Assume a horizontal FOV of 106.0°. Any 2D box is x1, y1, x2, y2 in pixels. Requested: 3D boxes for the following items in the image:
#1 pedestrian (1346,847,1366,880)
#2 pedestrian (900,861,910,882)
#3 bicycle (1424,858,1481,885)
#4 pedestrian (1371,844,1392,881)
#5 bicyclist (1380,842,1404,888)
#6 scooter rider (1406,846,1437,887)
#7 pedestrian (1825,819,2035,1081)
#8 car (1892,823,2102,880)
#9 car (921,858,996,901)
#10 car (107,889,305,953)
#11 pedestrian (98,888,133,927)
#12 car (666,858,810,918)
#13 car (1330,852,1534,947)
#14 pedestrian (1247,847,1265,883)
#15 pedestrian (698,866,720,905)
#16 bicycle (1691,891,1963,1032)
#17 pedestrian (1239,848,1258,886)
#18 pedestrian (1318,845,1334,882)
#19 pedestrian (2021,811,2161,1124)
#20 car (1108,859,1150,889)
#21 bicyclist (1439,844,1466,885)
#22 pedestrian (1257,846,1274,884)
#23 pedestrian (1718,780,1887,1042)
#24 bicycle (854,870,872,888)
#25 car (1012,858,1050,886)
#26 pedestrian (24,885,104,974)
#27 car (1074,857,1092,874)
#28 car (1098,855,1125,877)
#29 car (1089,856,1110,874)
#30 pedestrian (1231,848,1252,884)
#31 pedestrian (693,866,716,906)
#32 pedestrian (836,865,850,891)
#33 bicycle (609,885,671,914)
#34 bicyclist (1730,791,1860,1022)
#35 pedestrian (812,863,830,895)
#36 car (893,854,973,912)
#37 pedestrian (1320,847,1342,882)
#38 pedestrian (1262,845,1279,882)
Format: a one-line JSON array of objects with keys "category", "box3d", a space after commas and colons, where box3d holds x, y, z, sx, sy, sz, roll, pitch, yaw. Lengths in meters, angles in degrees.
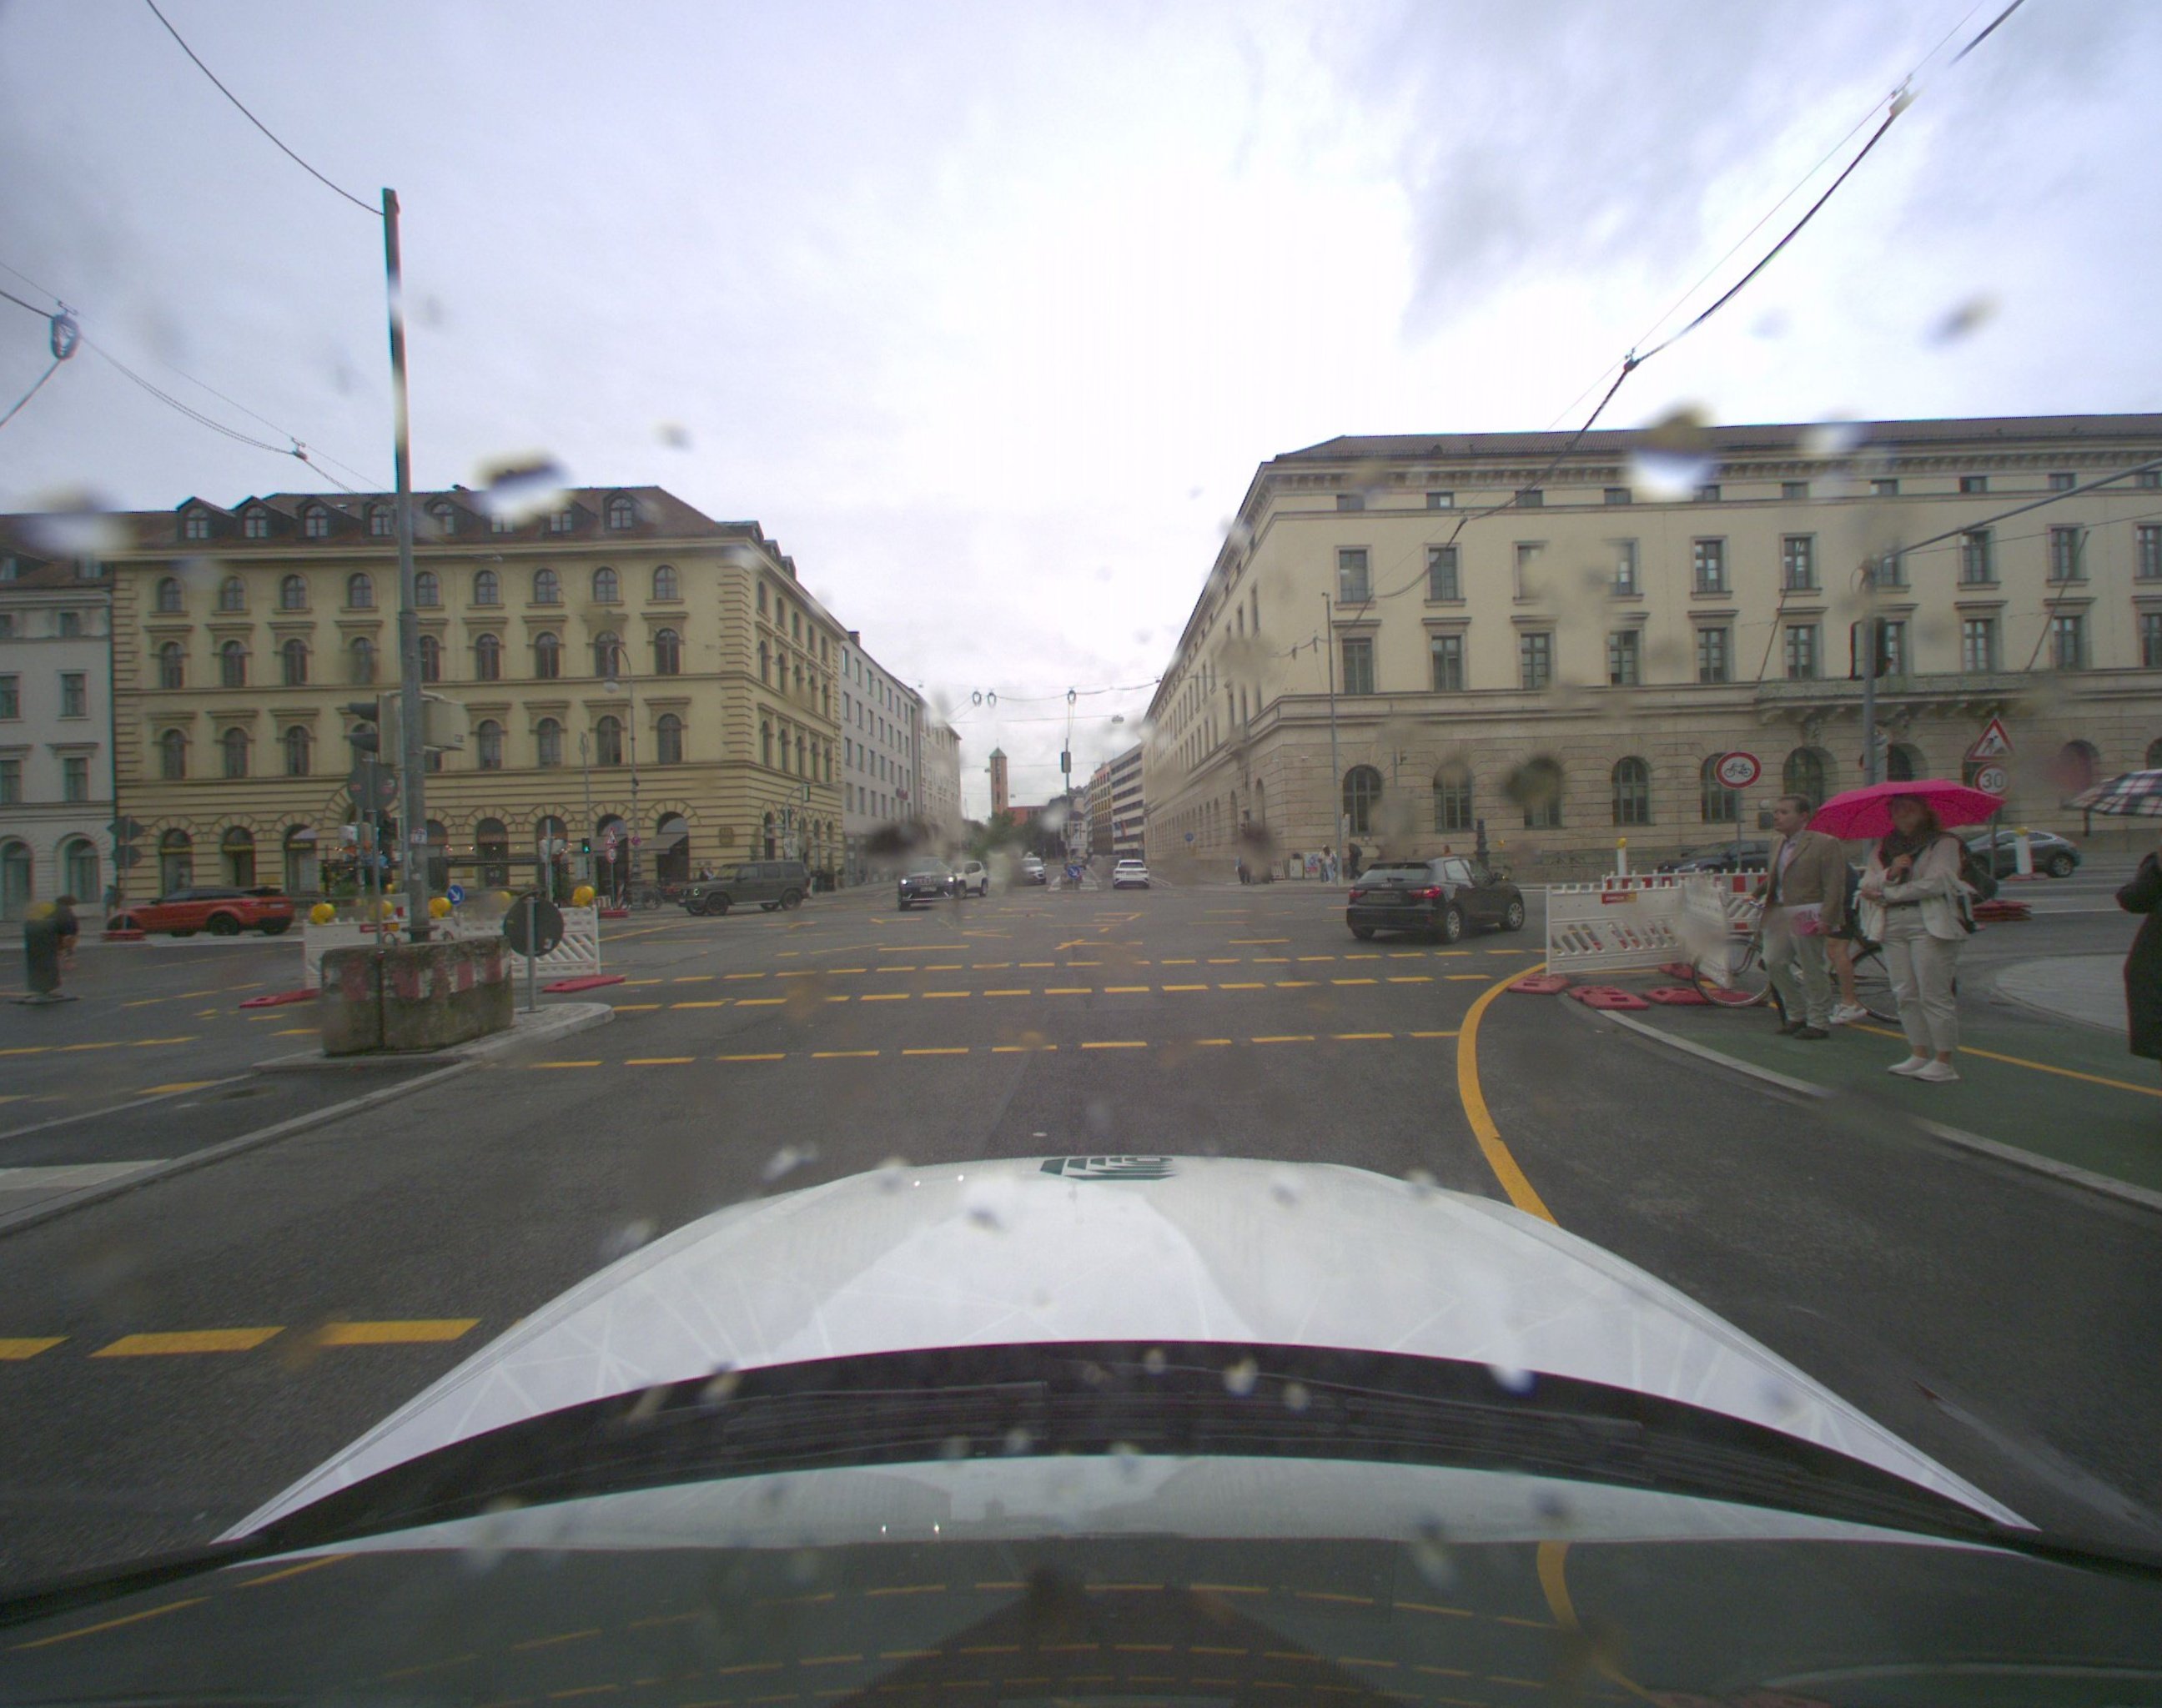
[{"category": "pedestrian", "box3d": [13.184, 0.449, 39.023, 0.662, 1.527, 0.820, -1, 0, 2]}, {"category": "pedestrian", "box3d": [-14.827, 1.469, 68.647, 0.734, 1.772, 0.736, -1, 0, -1]}, {"category": "bicycle", "box3d": [15.179, 0.710, 33.298, 1.950, 1.040, 0.795, -1, 0, 2]}, {"category": "pedestrian", "box3d": [14.221, 0.392, 38.538, 0.713, 1.694, 0.820, -1, 0, 1]}, {"category": "bicyclist", "box3d": [12.768, 0.448, 33.458, 0.741, 1.842, 0.661, -1, 0, 2]}, {"category": "scooter rider", "box3d": [13.468, 0.490, 32.229, 0.929, 1.622, 0.592, -1, 0, 1]}, {"category": "pedestrian", "box3d": [5.351, 0.576, 5.172, 0.700, 1.567, 0.584, -1, 0, 1]}, {"category": "car", "box3d": [28.516, -0.041, 25.450, 4.548, 1.567, 1.790, -2, -2, -1]}, {"category": "car", "box3d": [-5.323, 1.080, 35.995, 1.781, 1.677, 4.248, -2, 0, 13]}, {"category": "car", "box3d": [-27.555, 2.074, 25.772, 3.983, 1.720, 1.819, -2, 0, -7]}, {"category": "pedestrian", "box3d": [-45.490, 2.494, 38.379, 0.731, 1.772, 0.739, -2, -1, -1]}, {"category": "car", "box3d": [-12.950, 1.225, 30.916, 2.216, 2.013, 4.477, -2, 0, 42]}, {"category": "car", "box3d": [6.269, 0.698, 14.330, 4.023, 1.388, 1.846, -1, 0, -43]}, {"category": "pedestrian", "box3d": [8.674, 0.548, 40.378, 0.811, 1.755, 0.588, -1, 0, 13]}, {"category": "pedestrian", "box3d": [-17.251, 1.465, 37.769, 0.734, 1.772, 0.736, -1, 0, -11]}, {"category": "bicycle", "box3d": [6.251, 0.847, 6.929, 1.635, 1.011, 0.590, -1, 0, 42]}, {"category": "pedestrian", "box3d": [7.875, 0.615, 38.340, 0.811, 1.755, 0.682, -1, 0, 16]}, {"category": "pedestrian", "box3d": [11.364, 0.430, 37.830, 0.612, 1.671, 0.543, -1, 0, 7]}, {"category": "pedestrian", "box3d": [5.750, 0.563, 4.326, 0.700, 1.567, 0.682, -1, 0, 2]}, {"category": "car", "box3d": [2.379, 0.972, 41.415, 1.807, 1.424, 4.451, 0, 0, -1]}, {"category": "bicyclist", "box3d": [15.180, 0.427, 33.296, 0.741, 1.615, 0.795, -1, 0, 2]}, {"category": "pedestrian", "box3d": [8.774, 0.517, 38.724, 0.578, 1.755, 0.825, -1, 0, 30]}, {"category": "pedestrian", "box3d": [5.458, 0.417, 6.201, 0.699, 1.885, 0.642, -1, 0, 4]}, {"category": "bicycle", "box3d": [-16.027, 1.858, 59.941, 0.596, 1.242, 2.200, -1, 0, 2]}, {"category": "car", "box3d": [-2.916, 1.025, 48.341, 1.988, 1.524, 4.231, -2, 0, -1]}, {"category": "pedestrian", "box3d": [-21.107, 1.545, 16.908, 0.733, 1.772, 0.737, -1, 0, 3]}, {"category": "car", "box3d": [0.218, 1.377, 97.955, 1.988, 2.013, 3.998, -2, 0, -1]}, {"category": "car", "box3d": [2.298, 0.899, 62.500, 1.859, 1.601, 3.849, -2, 0, -1]}, {"category": "car", "box3d": [1.787, 1.073, 78.796, 1.859, 1.601, 3.849, -2, 0, -1]}, {"category": "pedestrian", "box3d": [7.850, 0.572, 39.913, 0.822, 1.755, 0.580, -1, 0, -31]}, {"category": "pedestrian", "box3d": [-17.105, 1.453, 37.019, 0.734, 1.772, 0.736, -1, 0, -11]}, {"category": "pedestrian", "box3d": [-16.064, 1.607, 54.975, 0.734, 1.772, 0.736, -1, 0, -1]}, {"category": "bicycle", "box3d": [-18.601, 1.896, 34.401, 2.203, 1.099, 0.595, -2, -1, -25]}, {"category": "bicyclist", "box3d": [6.135, 0.425, 7.024, 0.789, 1.854, 0.571, -1, -1, 41]}, {"category": "pedestrian", "box3d": [-14.631, 1.401, 45.859, 0.734, 1.772, 0.736, -1, 0, -1]}, {"category": "car", "box3d": [-4.933, 0.919, 27.780, 1.990, 1.734, 4.581, -2, 0, -2]}, {"category": "pedestrian", "box3d": [11.406, 0.486, 37.146, 0.813, 1.557, 0.668, -1, 0, 7]}, {"category": "pedestrian", "box3d": [9.202, 0.455, 39.505, 0.578, 1.755, 0.825, -1, 0, 30]}]
